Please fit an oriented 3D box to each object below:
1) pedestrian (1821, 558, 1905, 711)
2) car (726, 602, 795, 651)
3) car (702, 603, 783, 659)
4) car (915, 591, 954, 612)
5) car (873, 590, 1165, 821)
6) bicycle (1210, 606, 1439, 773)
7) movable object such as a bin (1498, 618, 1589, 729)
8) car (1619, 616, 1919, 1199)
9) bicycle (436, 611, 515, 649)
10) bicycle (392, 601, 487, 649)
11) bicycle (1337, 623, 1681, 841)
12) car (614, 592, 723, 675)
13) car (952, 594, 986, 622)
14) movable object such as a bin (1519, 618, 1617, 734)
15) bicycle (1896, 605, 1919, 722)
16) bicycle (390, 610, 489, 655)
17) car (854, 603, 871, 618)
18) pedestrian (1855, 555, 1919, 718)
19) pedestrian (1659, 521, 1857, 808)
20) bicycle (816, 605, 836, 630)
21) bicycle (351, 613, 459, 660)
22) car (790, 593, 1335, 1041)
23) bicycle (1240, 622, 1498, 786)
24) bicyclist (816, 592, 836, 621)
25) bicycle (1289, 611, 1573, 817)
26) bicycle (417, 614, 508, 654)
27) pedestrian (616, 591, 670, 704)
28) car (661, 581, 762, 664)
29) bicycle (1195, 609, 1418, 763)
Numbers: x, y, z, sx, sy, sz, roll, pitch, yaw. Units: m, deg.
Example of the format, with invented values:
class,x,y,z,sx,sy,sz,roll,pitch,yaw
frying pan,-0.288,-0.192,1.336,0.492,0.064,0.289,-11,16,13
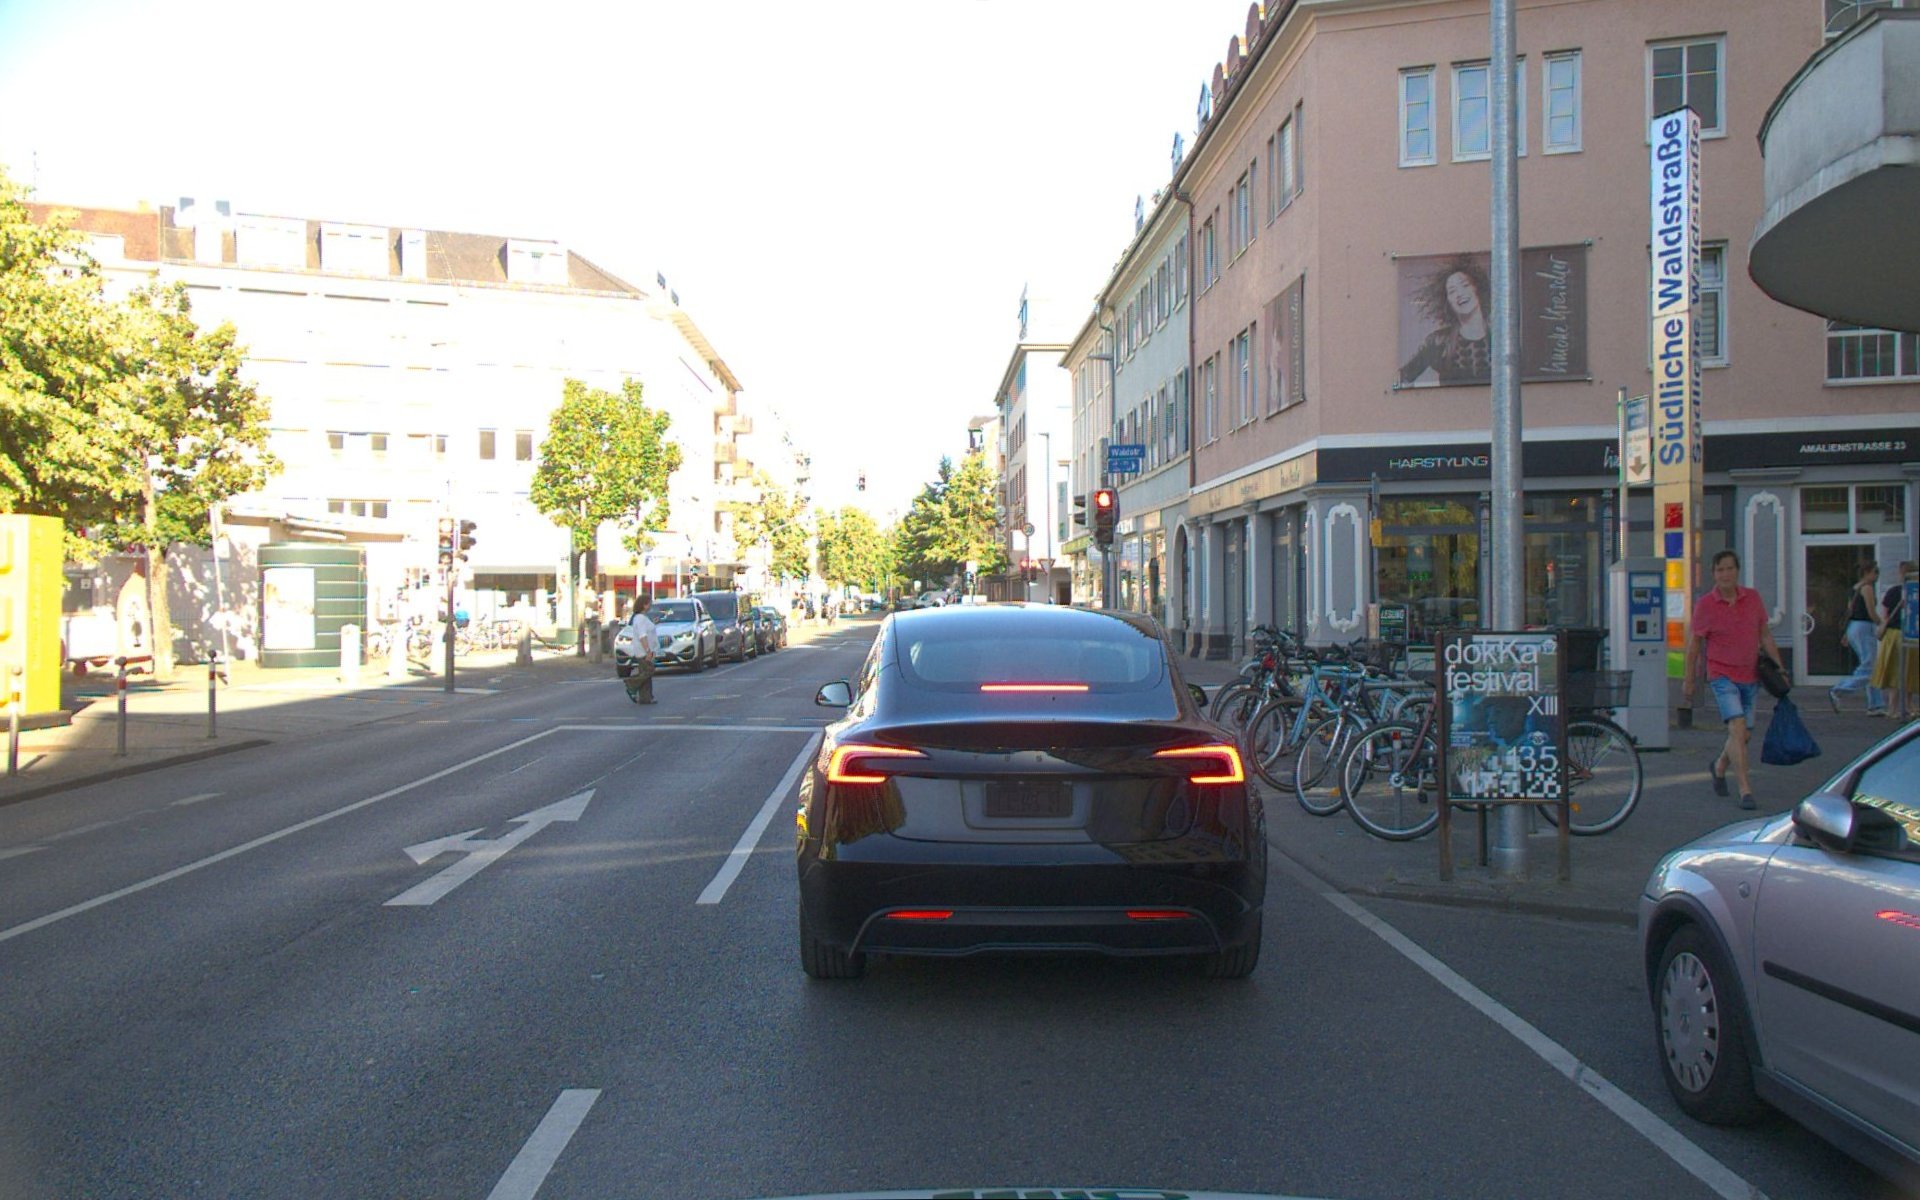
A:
class,x,y,z,sx,sy,sz,roll,pitch,yaw
pedestrian,10.344,0.402,18.978,0.763,1.713,0.826,-2,-2,27
car,-6.808,0.871,56.909,1.954,1.461,4.671,-4,0,-3
car,-6.425,0.884,49.323,1.954,1.434,4.671,-4,0,-3
car,-2.579,0.158,167.515,3.907,2.049,1.999,0,0,-2
car,0.324,0.699,13.120,1.953,1.538,4.173,0,0,-2
bicycle,2.986,0.721,13.685,1.709,1.289,0.781,-2,0,2
movable object such as a bin,6.022,0.750,17.102,0.718,1.111,0.627,1,0,1
car,2.930,0.778,3.517,1.580,1.406,3.642,1,0,0
bicycle,-15.217,0.940,51.987,2.279,1.176,0.841,0,0,-6
bicycle,-14.715,0.696,46.810,2.429,1.347,0.921,0,0,-6
bicycle,3.285,0.783,10.027,1.846,1.214,0.692,-2,1,5
car,-6.323,0.683,36.275,1.771,1.582,4.307,-4,0,-3
car,0.528,0.459,100.754,1.953,1.657,3.999,0,0,-1
movable object such as a bin,6.043,0.748,16.465,0.737,1.111,0.627,1,0,1
bicycle,10.254,0.661,17.012,0.645,1.220,2.212,0,0,18
bicycle,-14.107,0.878,44.887,2.412,1.176,0.842,0,0,-2
car,-10.995,1.211,186.891,1.954,1.666,3.997,0,0,-4
pedestrian,10.346,0.391,18.184,0.704,1.743,0.727,0,0,-45
pedestrian,5.365,0.417,11.194,0.846,1.815,1.009,-3,-1,7
bicycle,-7.704,0.998,95.400,1.089,1.368,3.997,0,0,-4
bicycle,-14.193,0.921,42.353,2.455,1.176,0.842,0,0,-2
car,0.313,0.723,7.496,1.810,1.480,3.999,0,0,-1
bicycle,3.055,0.771,12.507,1.760,1.144,0.782,-2,0,5
bicyclist,-7.720,0.371,95.494,1.104,1.657,0.964,0,0,-4
bicycle,3.138,0.749,11.157,1.686,1.290,0.791,-2,0,5
bicycle,-14.893,1.013,49.564,2.485,1.176,0.841,0,0,-6
pedestrian,-4.531,0.668,23.680,0.733,1.579,0.697,0,0,-10
car,-6.317,0.533,42.502,1.797,1.877,4.674,-4,0,0
bicycle,3.051,0.748,14.717,1.822,1.280,0.833,-2,0,5
